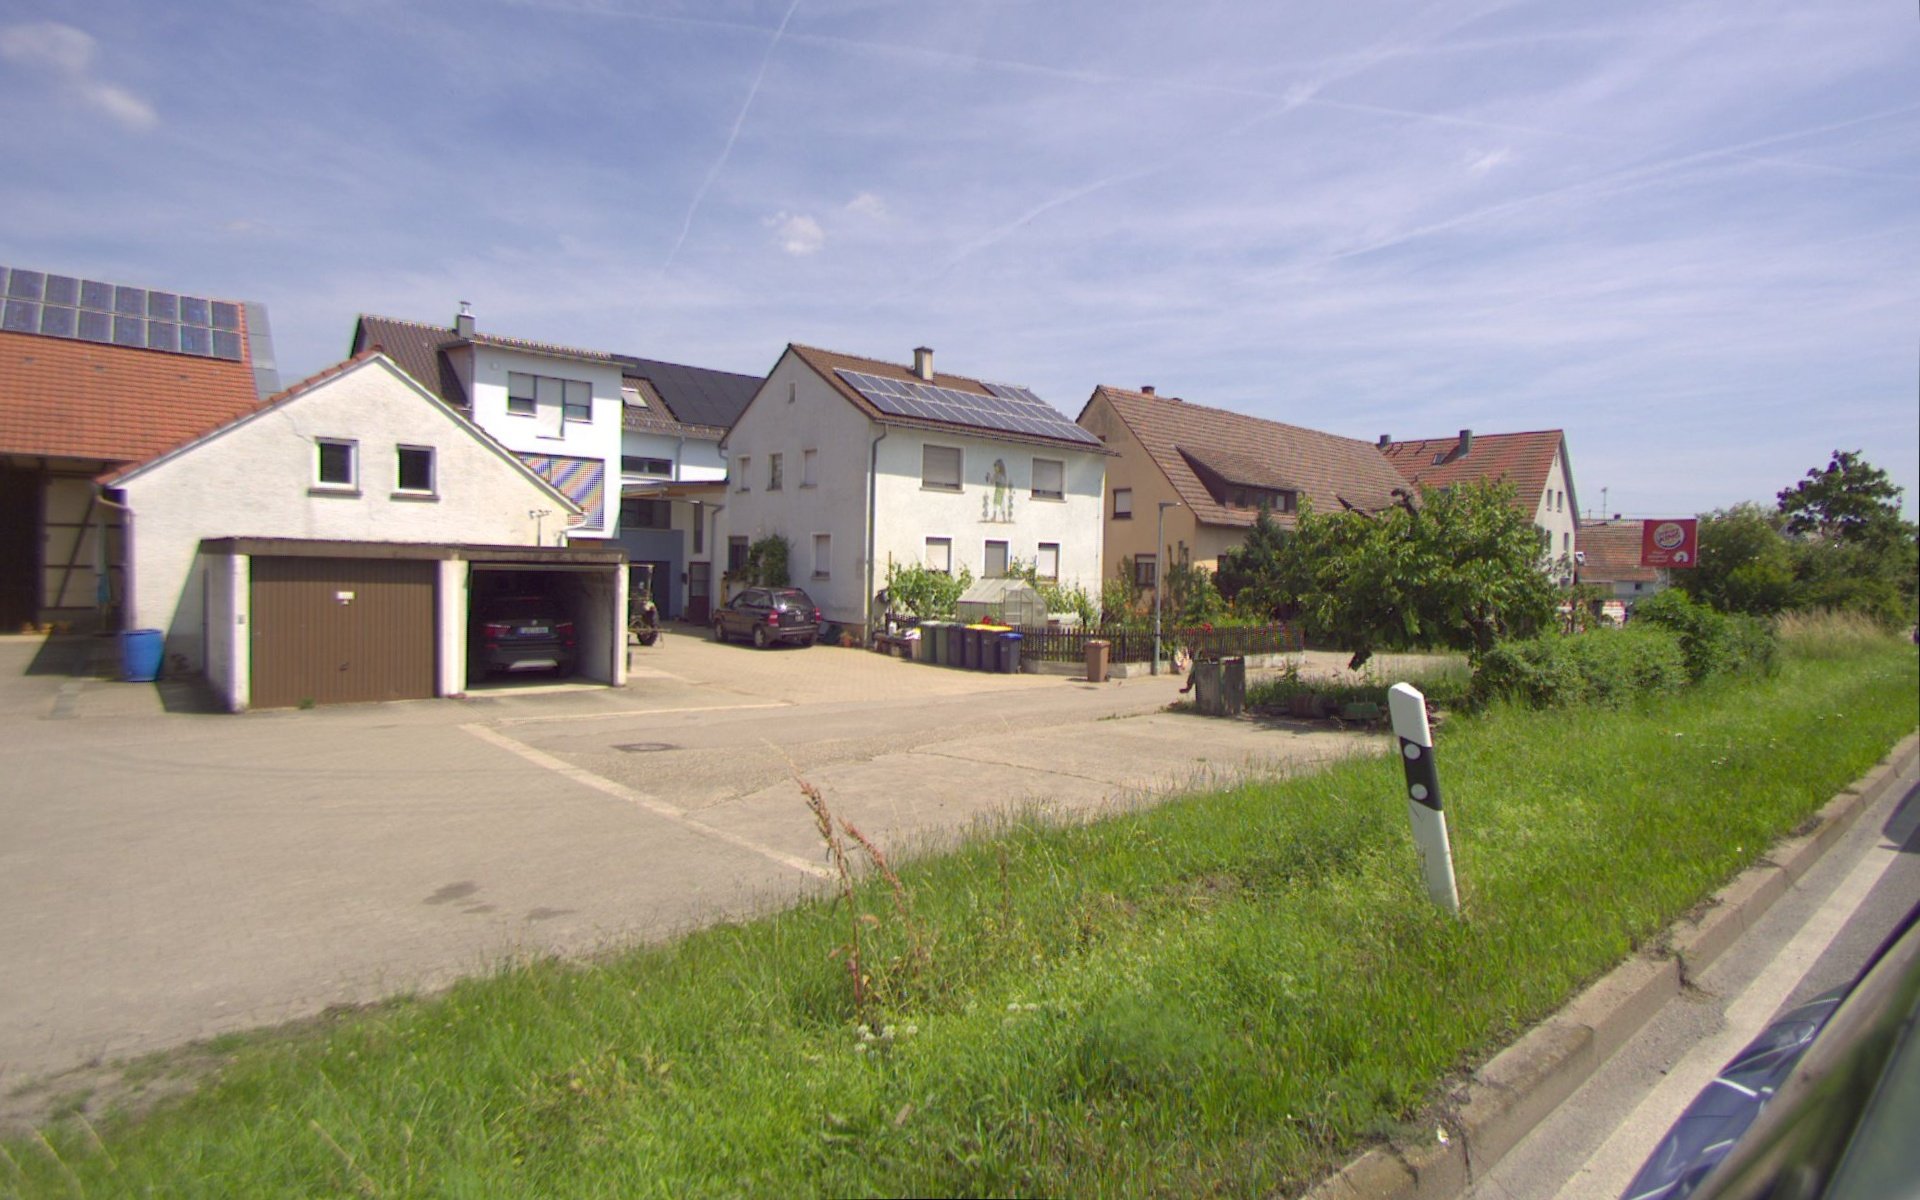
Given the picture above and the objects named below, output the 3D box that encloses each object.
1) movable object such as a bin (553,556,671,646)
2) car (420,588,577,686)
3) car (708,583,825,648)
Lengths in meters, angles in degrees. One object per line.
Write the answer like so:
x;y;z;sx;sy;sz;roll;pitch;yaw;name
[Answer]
-9.968;-0.022;28.813;2.041;2.372;3.719;2;1;-38;movable object such as a bin
-9.027;0.619;19.635;1.802;1.597;3.996;-1;2;-40;car
-5.819;0.398;30.103;1.810;1.714;3.959;-1;3;-38;car
